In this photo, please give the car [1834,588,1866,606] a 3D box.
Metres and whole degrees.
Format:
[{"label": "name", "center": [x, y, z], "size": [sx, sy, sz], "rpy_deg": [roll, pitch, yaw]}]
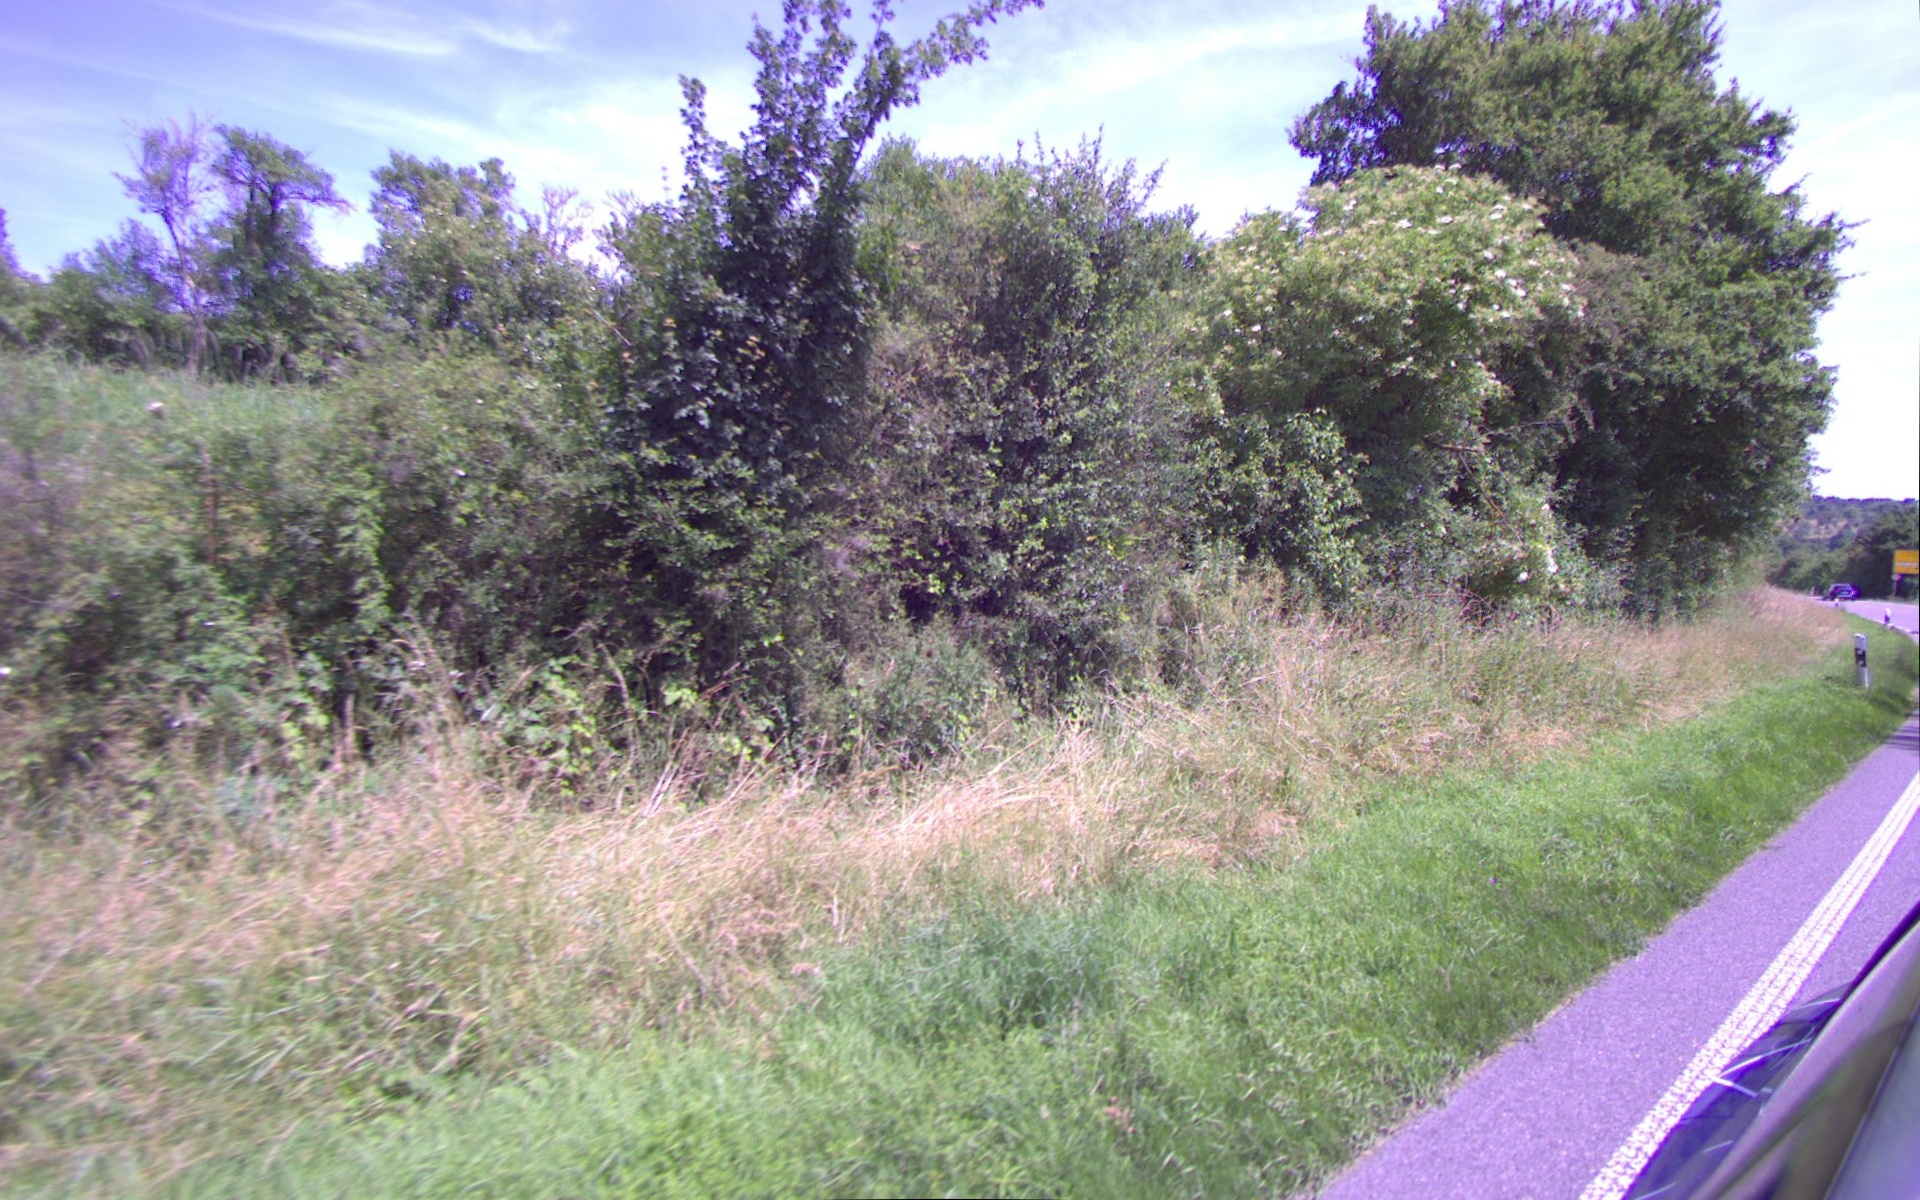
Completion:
[{"label": "car", "center": [79.733, -0.281, 90.664], "size": [1.664, 1.550, 3.909], "rpy_deg": [1, 1, 35]}]
